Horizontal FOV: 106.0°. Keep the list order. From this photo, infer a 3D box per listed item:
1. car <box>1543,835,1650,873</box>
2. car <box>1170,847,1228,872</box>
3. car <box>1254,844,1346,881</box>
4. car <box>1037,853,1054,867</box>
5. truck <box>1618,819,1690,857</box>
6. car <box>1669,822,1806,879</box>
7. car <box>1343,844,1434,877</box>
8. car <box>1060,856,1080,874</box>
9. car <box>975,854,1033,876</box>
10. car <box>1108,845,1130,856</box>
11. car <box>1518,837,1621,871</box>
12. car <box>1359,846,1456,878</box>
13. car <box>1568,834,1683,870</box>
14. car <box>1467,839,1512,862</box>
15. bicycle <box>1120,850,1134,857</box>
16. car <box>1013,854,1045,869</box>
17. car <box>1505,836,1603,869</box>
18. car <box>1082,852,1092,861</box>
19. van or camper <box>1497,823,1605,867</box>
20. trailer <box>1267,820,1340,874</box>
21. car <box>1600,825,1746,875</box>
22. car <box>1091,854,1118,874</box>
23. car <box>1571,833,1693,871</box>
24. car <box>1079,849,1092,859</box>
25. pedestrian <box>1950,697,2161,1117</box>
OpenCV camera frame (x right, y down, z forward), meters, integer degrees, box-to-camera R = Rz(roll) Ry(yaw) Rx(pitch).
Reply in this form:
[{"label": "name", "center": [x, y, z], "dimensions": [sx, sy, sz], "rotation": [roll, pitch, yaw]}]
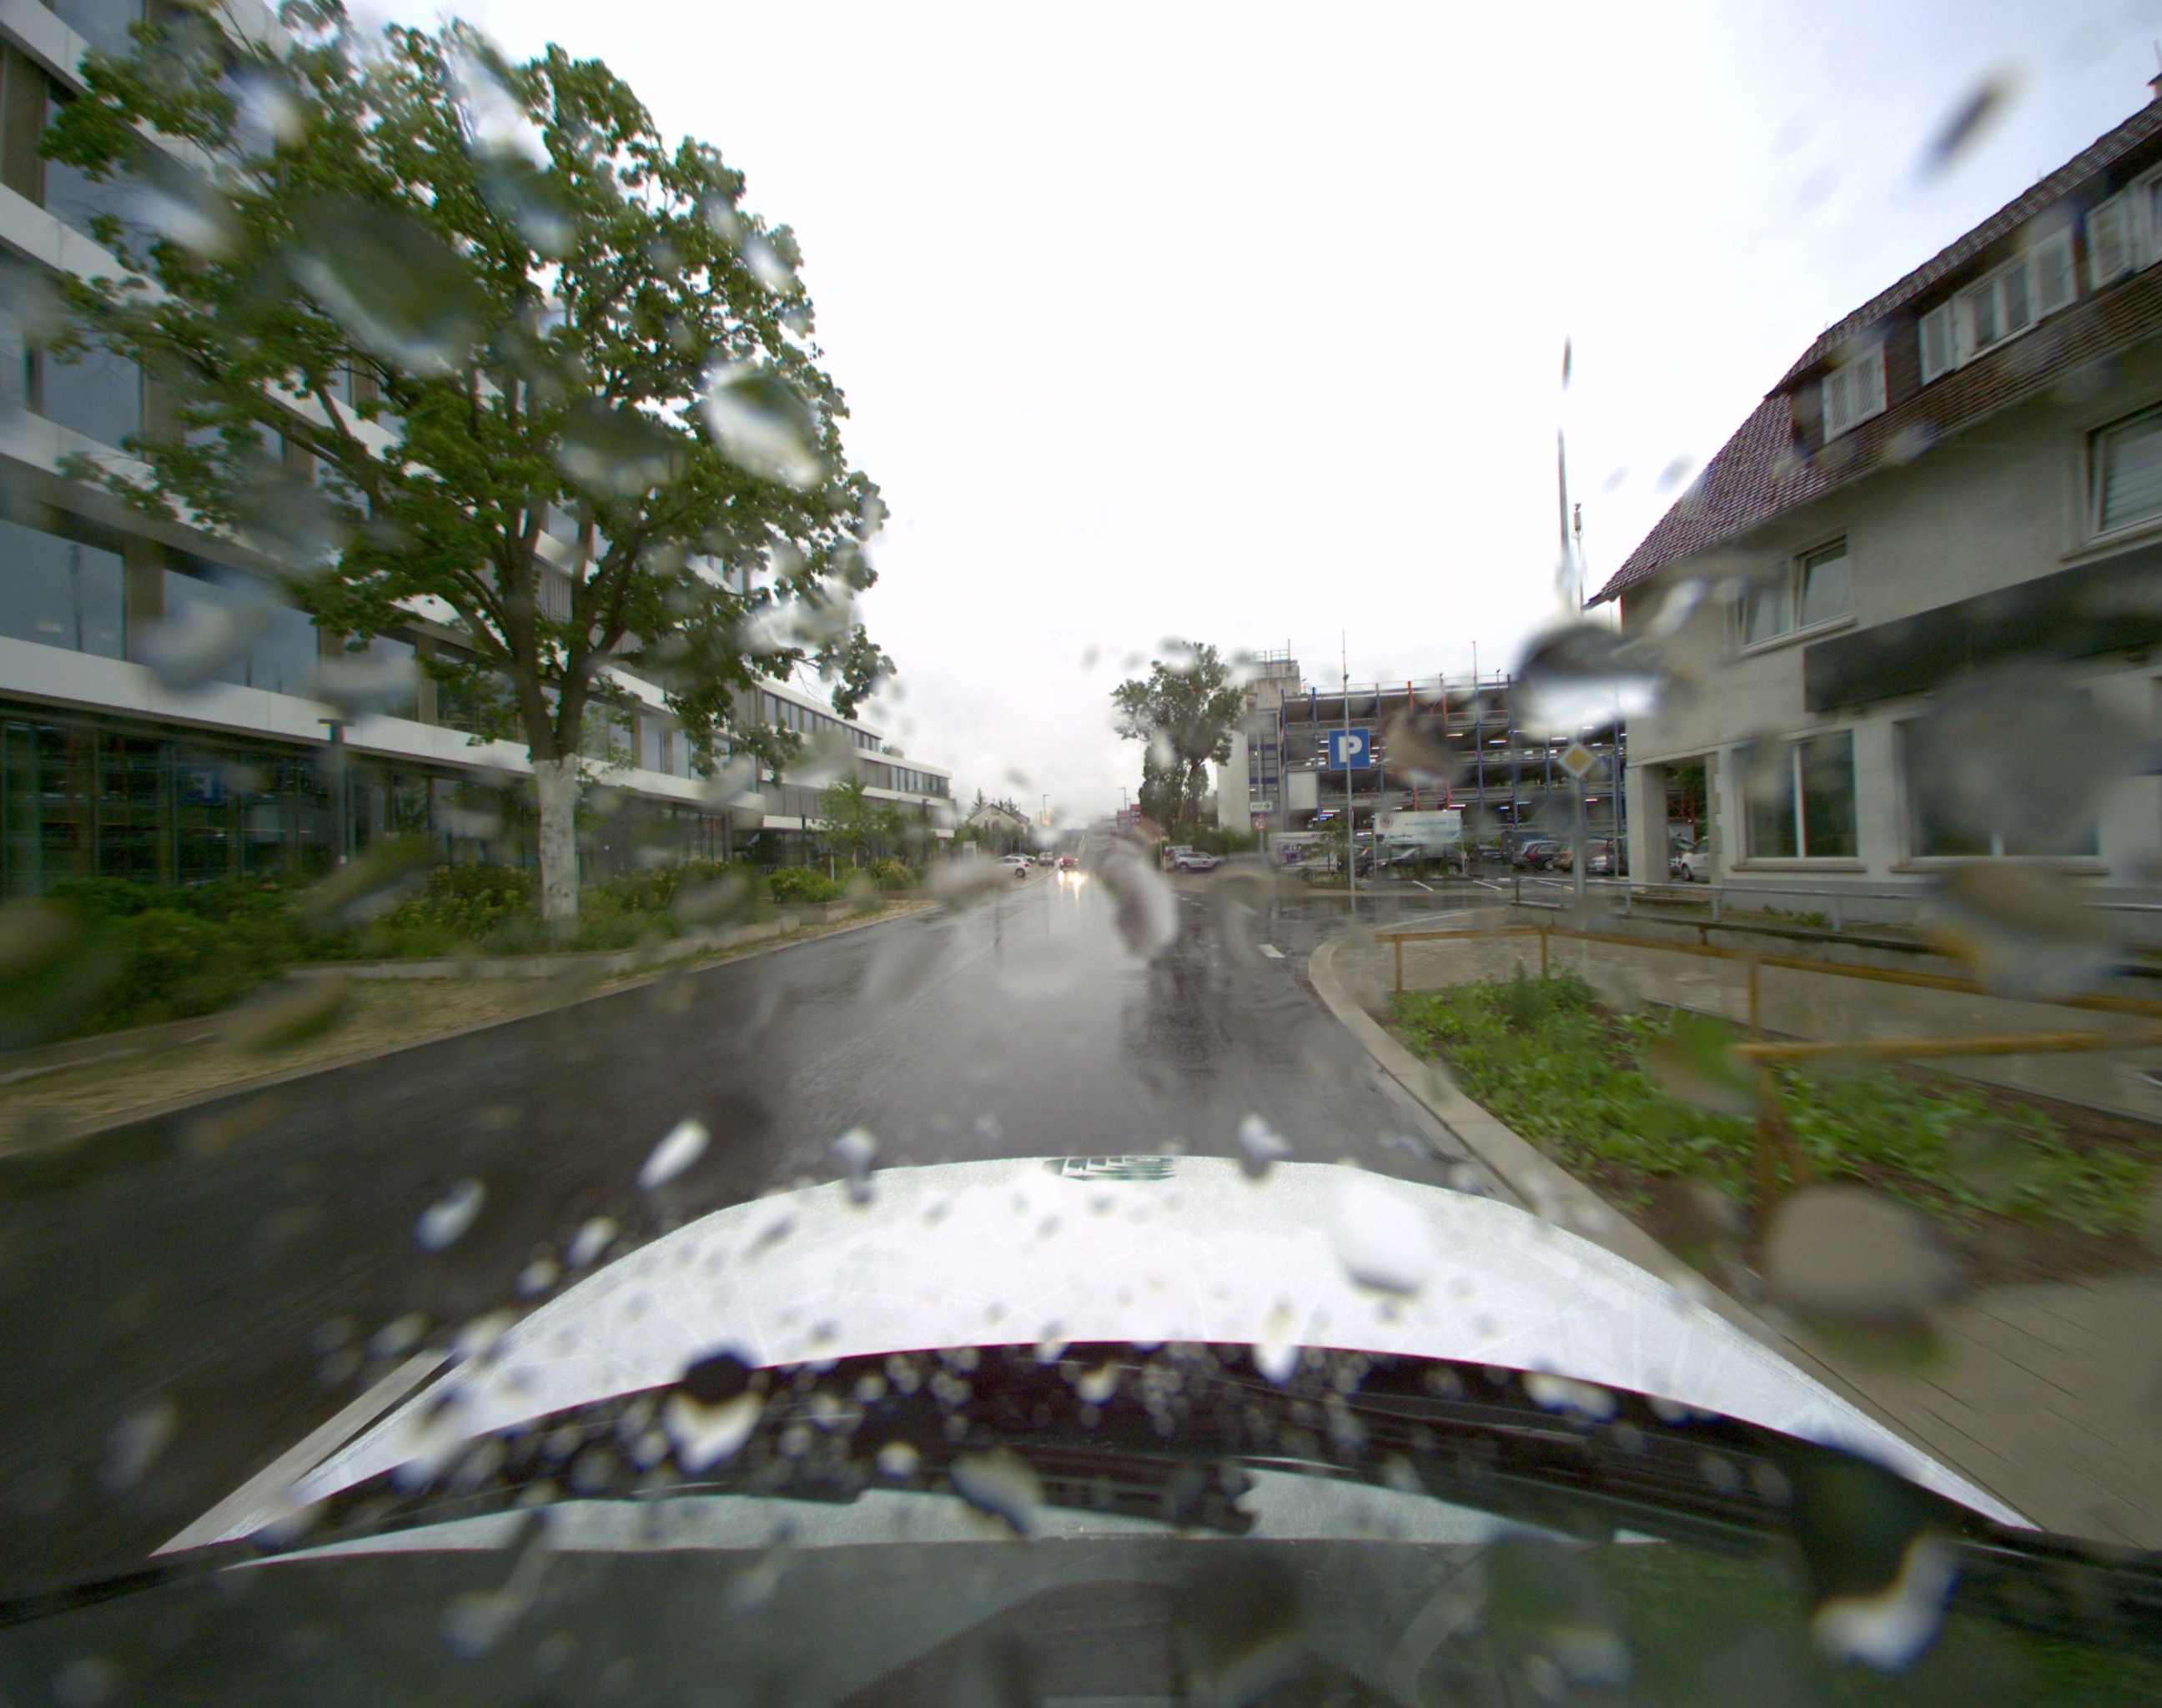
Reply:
[{"label": "car", "center": [25.874, -0.011, 41.030], "dimensions": [4.103, 1.667, 1.870], "rotation": [-3, 0, 8]}, {"label": "car", "center": [8.897, 0.409, 61.404], "dimensions": [4.182, 1.650, 2.005], "rotation": [-3, -1, 9]}, {"label": "car", "center": [10.051, 0.401, 37.523], "dimensions": [3.714, 1.529, 1.649], "rotation": [-3, -1, -1]}, {"label": "car", "center": [-4.504, 0.786, 103.300], "dimensions": [1.987, 1.629, 4.152], "rotation": [-2, 0, 0]}, {"label": "truck", "center": [39.814, -1.057, 56.760], "dimensions": [1.981, 2.269, 5.320], "rotation": [2, -2, 10]}, {"label": "car", "center": [23.787, -0.136, 29.753], "dimensions": [1.876, 1.828, 4.502], "rotation": [-3, 0, 9]}, {"label": "car", "center": [14.828, 0.309, 39.374], "dimensions": [3.718, 1.449, 1.729], "rotation": [-2, 0, -4]}, {"label": "car", "center": [-1.174, 1.167, 86.167], "dimensions": [1.997, 1.818, 4.977], "rotation": [-1, 0, -1]}, {"label": "car", "center": [-5.512, 0.778, 58.323], "dimensions": [3.914, 1.423, 1.898], "rotation": [-1, 0, 0]}, {"label": "car", "center": [7.140, -0.670, 153.189], "dimensions": [4.103, 1.706, 1.786], "rotation": [2, -2, -4]}, {"label": "car", "center": [26.013, -0.008, 43.496], "dimensions": [4.330, 1.583, 1.870], "rotation": [-3, 0, 8]}, {"label": "car", "center": [14.826, 0.346, 37.119], "dimensions": [3.718, 1.315, 1.690], "rotation": [-2, 0, -4]}, {"label": "car", "center": [25.839, -0.099, 38.750], "dimensions": [4.103, 1.497, 1.870], "rotation": [-3, 0, 8]}, {"label": "car", "center": [29.679, -0.224, 59.260], "dimensions": [1.880, 1.486, 4.011], "rotation": [2, -2, 11]}, {"label": "bicycle", "center": [8.266, -0.067, 146.588], "dimensions": [0.673, 1.067, 3.592], "rotation": [3, -2, -31]}, {"label": "car", "center": [-8.012, 1.198, 125.750], "dimensions": [4.745, 2.014, 1.996], "rotation": [2, -2, -5]}, {"label": "car", "center": [26.532, -0.079, 45.815], "dimensions": [4.330, 1.583, 1.870], "rotation": [-3, 0, 8]}, {"label": "car", "center": [1.211, 0.478, 168.884], "dimensions": [1.987, 1.706, 3.998], "rotation": [2, -2, 0]}, {"label": "van or camper", "center": [27.587, -0.521, 47.945], "dimensions": [4.928, 2.326, 2.227], "rotation": [-3, 0, 7]}, {"label": "trailer", "center": [9.485, -0.296, 34.895], "dimensions": [2.692, 2.171, 1.549], "rotation": [-1, 0, 1]}, {"label": "car", "center": [24.305, -0.151, 33.643], "dimensions": [4.442, 1.828, 1.901], "rotation": [-3, 0, 15]}, {"label": "car", "center": [2.003, 0.902, 70.643], "dimensions": [1.943, 1.556, 3.995], "rotation": [2, -2, -3]}, {"label": "car", "center": [24.622, -0.088, 36.565], "dimensions": [4.097, 1.497, 1.872], "rotation": [-3, 0, 14]}, {"label": "car", "center": [0.837, 0.014, 142.212], "dimensions": [2.147, 1.706, 3.998], "rotation": [2, -2, 0]}, {"label": "pedestrian", "center": [5.575, 0.238, 4.163], "dimensions": [0.857, 2.013, 1.194], "rotation": [-4, 0, -2]}]
